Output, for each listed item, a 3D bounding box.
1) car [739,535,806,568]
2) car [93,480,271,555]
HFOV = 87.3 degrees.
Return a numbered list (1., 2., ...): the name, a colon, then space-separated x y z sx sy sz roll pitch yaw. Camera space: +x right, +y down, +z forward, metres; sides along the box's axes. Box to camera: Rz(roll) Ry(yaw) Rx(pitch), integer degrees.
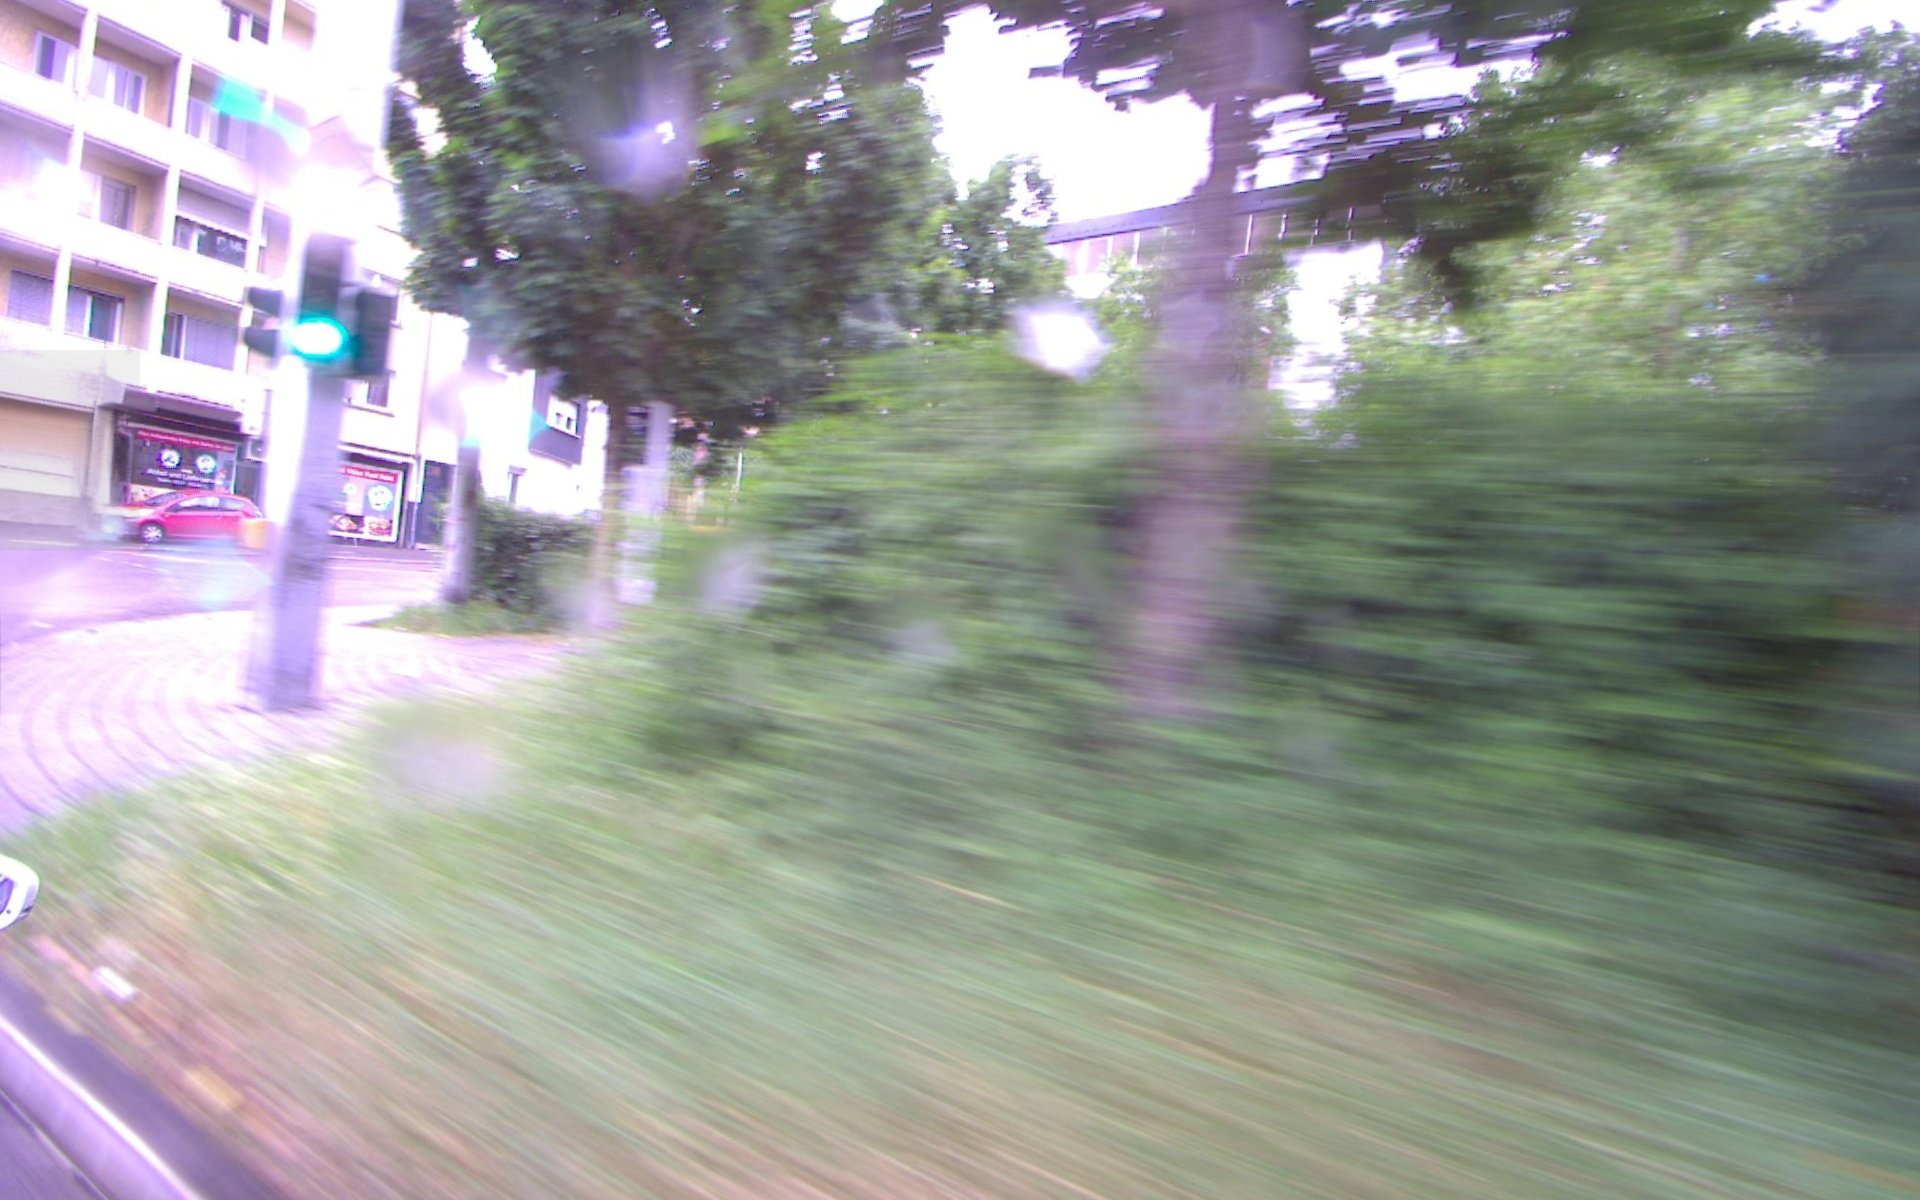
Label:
1. car: -11.873 -3.086 63.584 1.911 1.734 4.653 3 3 -42
2. car: -21.024 -2.197 27.306 1.447 1.578 3.474 8 3 29
